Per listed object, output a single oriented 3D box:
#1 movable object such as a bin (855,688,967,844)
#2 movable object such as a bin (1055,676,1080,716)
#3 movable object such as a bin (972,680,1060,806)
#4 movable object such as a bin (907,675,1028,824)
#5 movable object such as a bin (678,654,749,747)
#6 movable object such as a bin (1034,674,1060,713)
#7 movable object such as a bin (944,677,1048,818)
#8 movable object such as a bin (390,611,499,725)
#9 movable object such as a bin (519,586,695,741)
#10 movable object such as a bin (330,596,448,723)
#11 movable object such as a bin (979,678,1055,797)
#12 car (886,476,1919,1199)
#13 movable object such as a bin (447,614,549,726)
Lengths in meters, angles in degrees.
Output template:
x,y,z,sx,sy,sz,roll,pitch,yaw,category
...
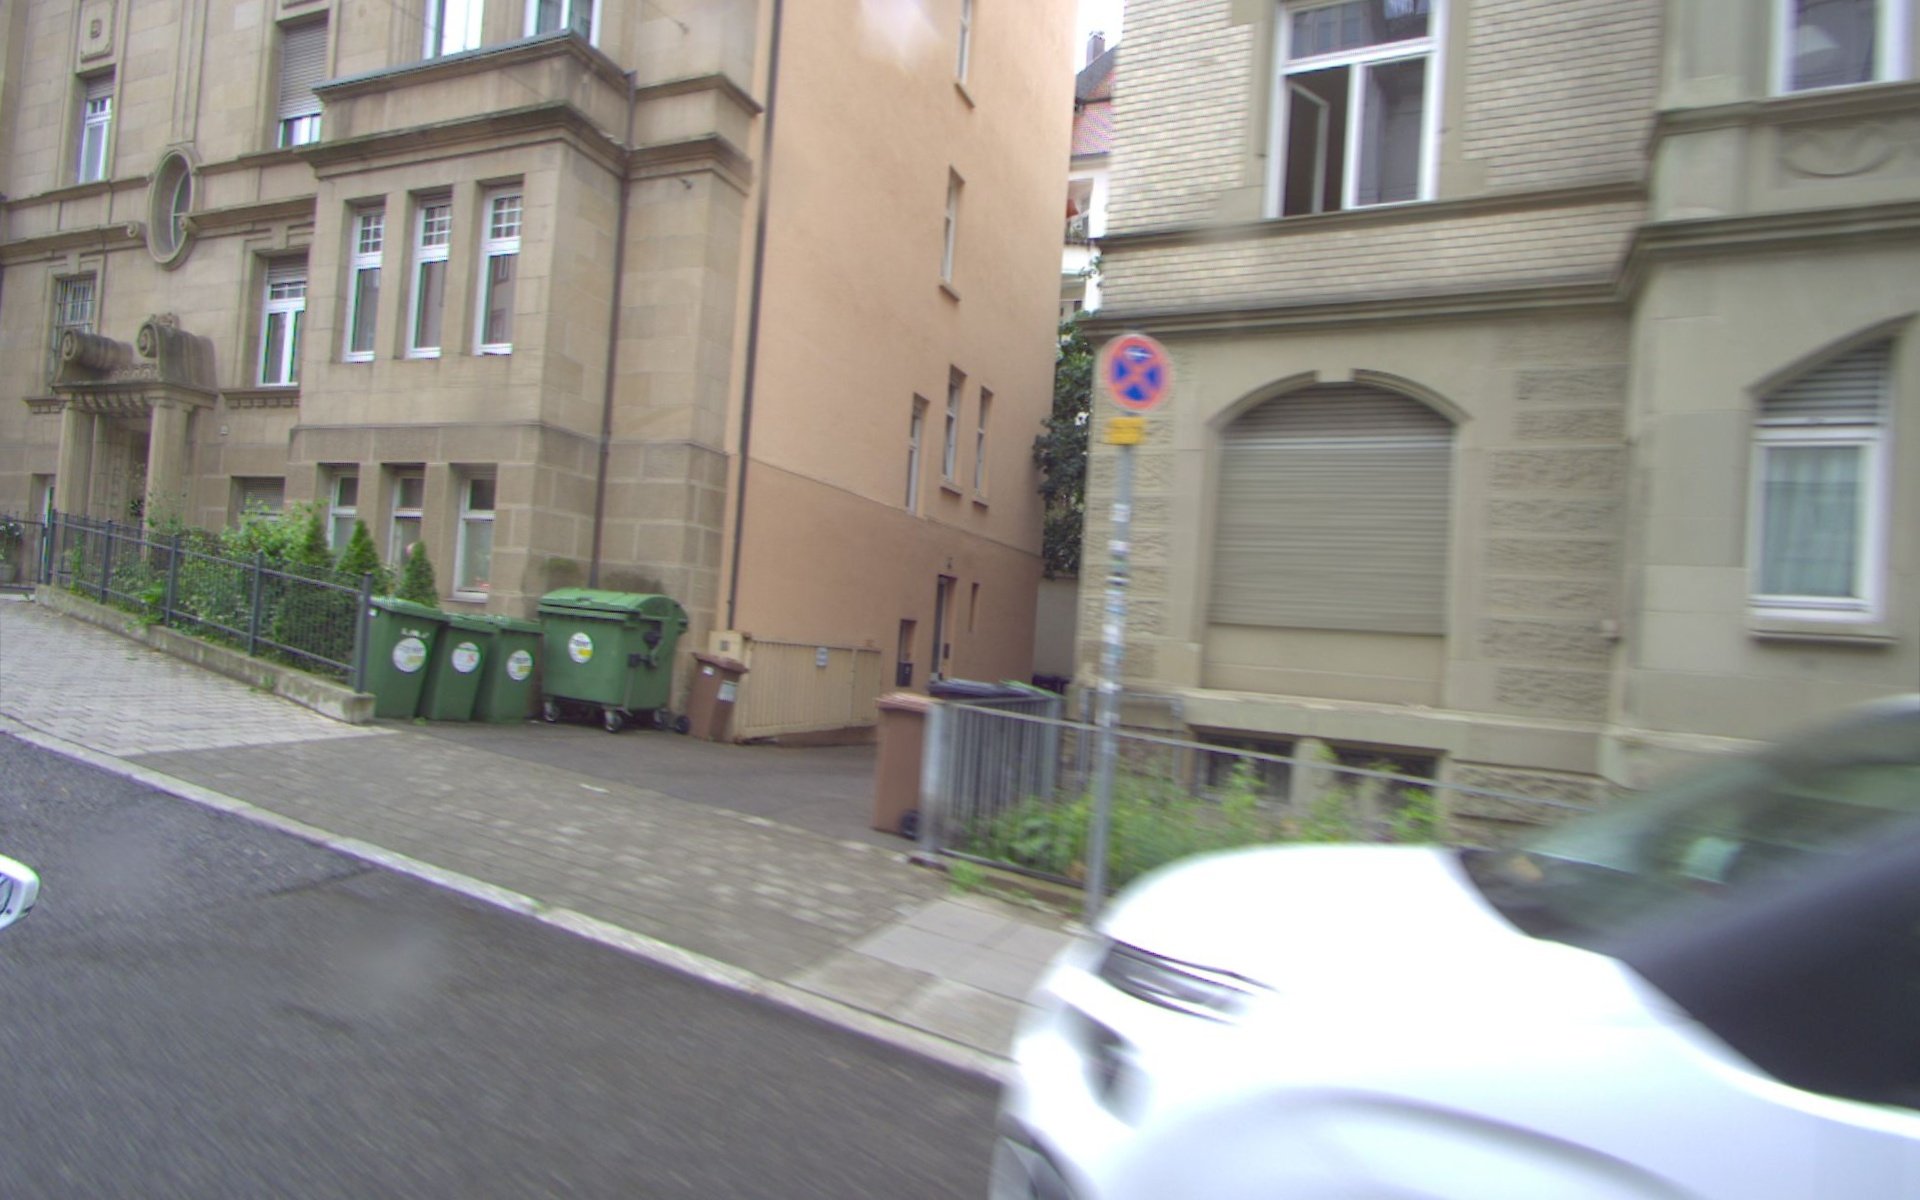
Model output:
x,y,z,sx,sy,sz,roll,pitch,yaw,category
-0.330,1.107,6.837,0.527,0.932,0.427,8,2,22,movable object such as a bin
3.102,2.756,29.003,0.532,1.053,0.563,4,3,22,movable object such as a bin
0.533,1.341,9.465,0.545,1.072,0.498,6,-4,26,movable object such as a bin
0.064,1.166,7.927,0.653,1.041,0.529,6,-4,32,movable object such as a bin
-2.737,1.118,11.171,0.510,0.952,0.395,6,-4,23,movable object such as a bin
2.537,2.711,29.265,0.544,1.053,0.563,4,3,22,movable object such as a bin
0.308,1.236,8.502,0.598,1.072,0.501,6,-4,26,movable object such as a bin
-4.901,0.652,9.584,0.593,0.978,0.540,6,-4,23,movable object such as a bin
-3.740,0.689,10.719,1.256,1.446,0.976,6,-5,23,movable object such as a bin
-5.127,0.539,9.052,0.593,1.036,0.540,6,-4,23,movable object such as a bin
0.585,1.390,10.197,0.469,1.113,0.521,6,-4,26,movable object such as a bin
2.259,0.992,1.682,4.382,1.785,1.804,7,-2,25,car
-4.668,0.714,10.184,0.593,1.036,0.540,6,-4,23,movable object such as a bin
